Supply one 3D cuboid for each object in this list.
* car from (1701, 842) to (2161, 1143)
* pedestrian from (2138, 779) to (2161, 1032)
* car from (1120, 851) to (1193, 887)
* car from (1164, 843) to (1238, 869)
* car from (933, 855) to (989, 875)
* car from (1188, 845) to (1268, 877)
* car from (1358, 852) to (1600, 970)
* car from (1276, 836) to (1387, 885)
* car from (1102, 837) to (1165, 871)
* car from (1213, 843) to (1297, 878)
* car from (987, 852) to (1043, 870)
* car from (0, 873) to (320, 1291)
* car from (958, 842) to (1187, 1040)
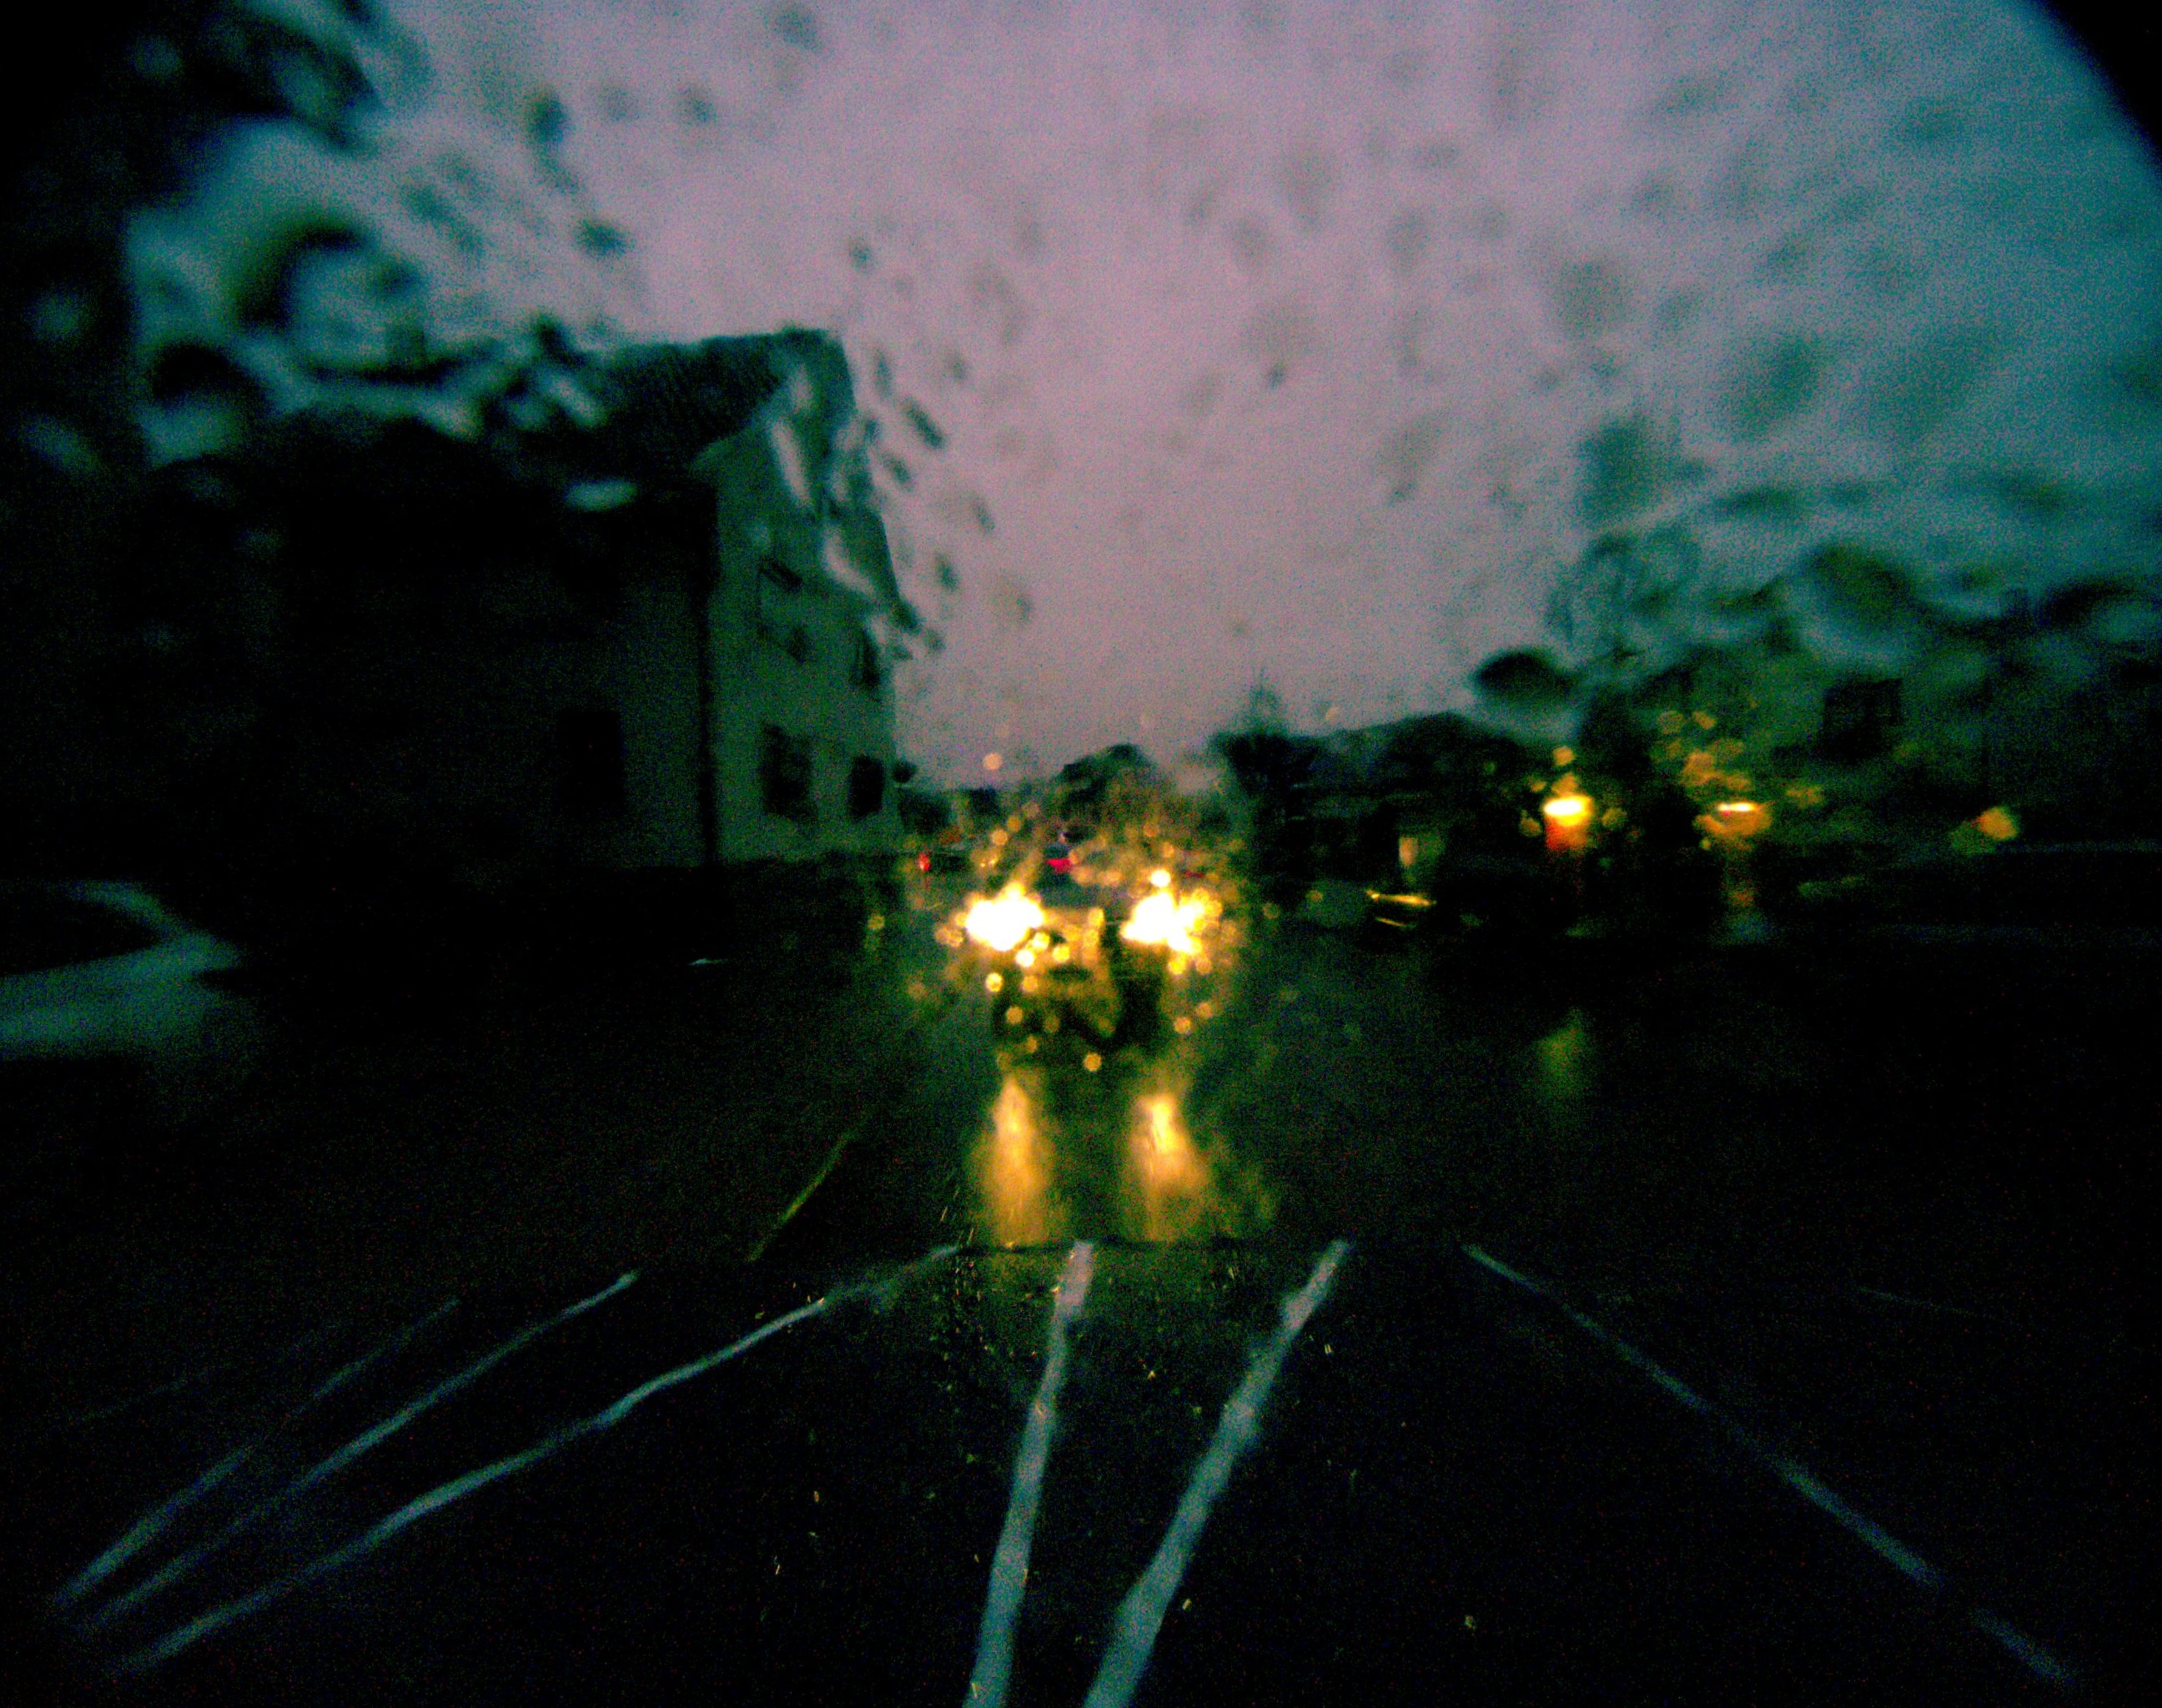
[{"bbox_3d":[6.559,0.719,4.965,1.880,1.526,3.670,-2,1,-3],"label":"car"},{"bbox_3d":[8.942,0.404,5.689,0.902,2.002,0.791,-1,1,10],"label":"pedestrian"},{"bbox_3d":[3.256,0.629,33.558,1.983,1.438,3.909,-2,1,-13],"label":"car"},{"bbox_3d":[6.753,0.128,43.060,3.995,1.291,2.001,-2,1,6],"label":"car"},{"bbox_3d":[-9.052,0.804,57.061,4.001,1.291,1.998,-2,1,-13],"label":"car"},{"bbox_3d":[7.765,0.358,40.089,3.993,1.538,2.001,-2,1,11],"label":"car"},{"bbox_3d":[6.236,0.787,12.538,1.840,1.526,4.138,-2,1,1],"label":"car"},{"bbox_3d":[9.747,0.247,29.795,3.992,1.753,1.435,-2,1,16],"label":"car"},{"bbox_3d":[3.386,-0.014,49.912,3.996,2.002,2.000,-2,1,2],"label":"car"},{"bbox_3d":[8.491,0.316,37.442,3.839,1.537,2.001,-2,1,8],"label":"car"},{"bbox_3d":[-5.472,0.557,63.155,4.250,1.291,1.996,-2,1,-21],"label":"car"},{"bbox_3d":[-5.104,0.883,1.562,1.933,1.476,4.699,-2,0,9],"label":"car"},{"bbox_3d":[-0.047,0.763,8.830,1.998,1.720,3.999,-2,1,1],"label":"car"}]
